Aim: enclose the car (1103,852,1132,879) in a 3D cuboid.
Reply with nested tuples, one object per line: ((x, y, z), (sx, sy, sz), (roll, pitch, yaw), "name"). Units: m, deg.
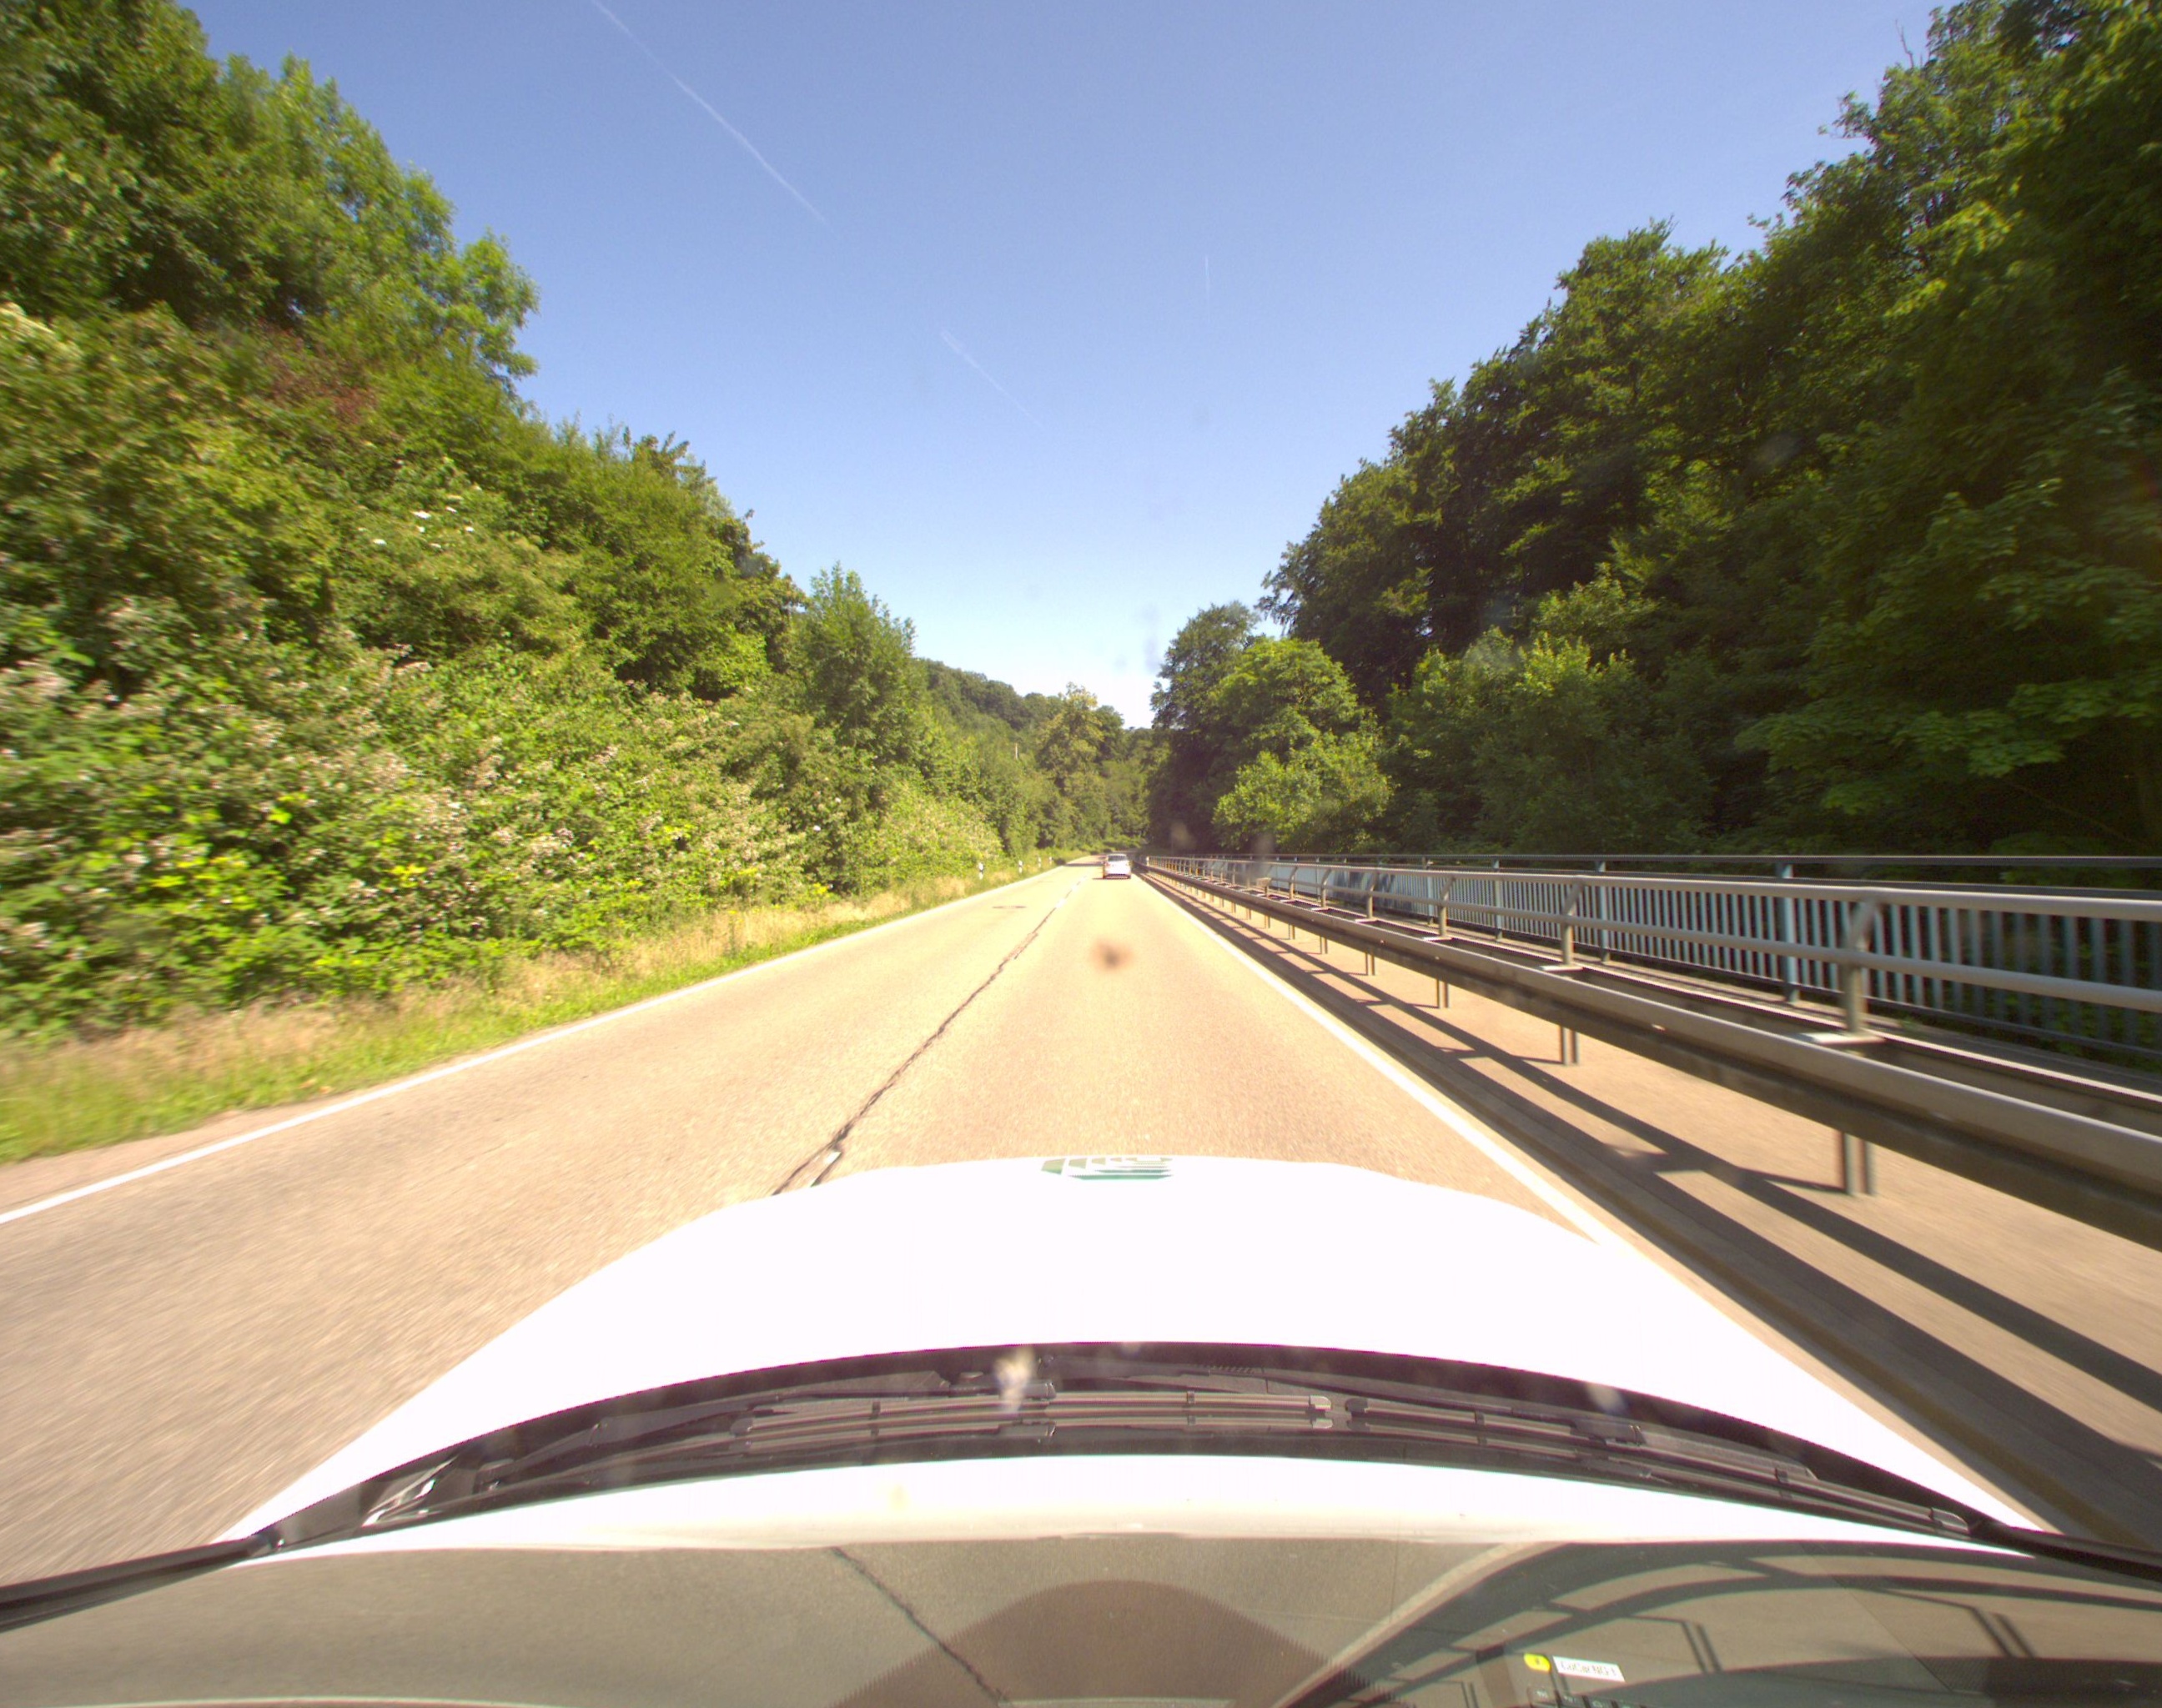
((2.221, 0.698, 50.681), (1.745, 1.520, 4.161), (0, 1, 1), "car")
